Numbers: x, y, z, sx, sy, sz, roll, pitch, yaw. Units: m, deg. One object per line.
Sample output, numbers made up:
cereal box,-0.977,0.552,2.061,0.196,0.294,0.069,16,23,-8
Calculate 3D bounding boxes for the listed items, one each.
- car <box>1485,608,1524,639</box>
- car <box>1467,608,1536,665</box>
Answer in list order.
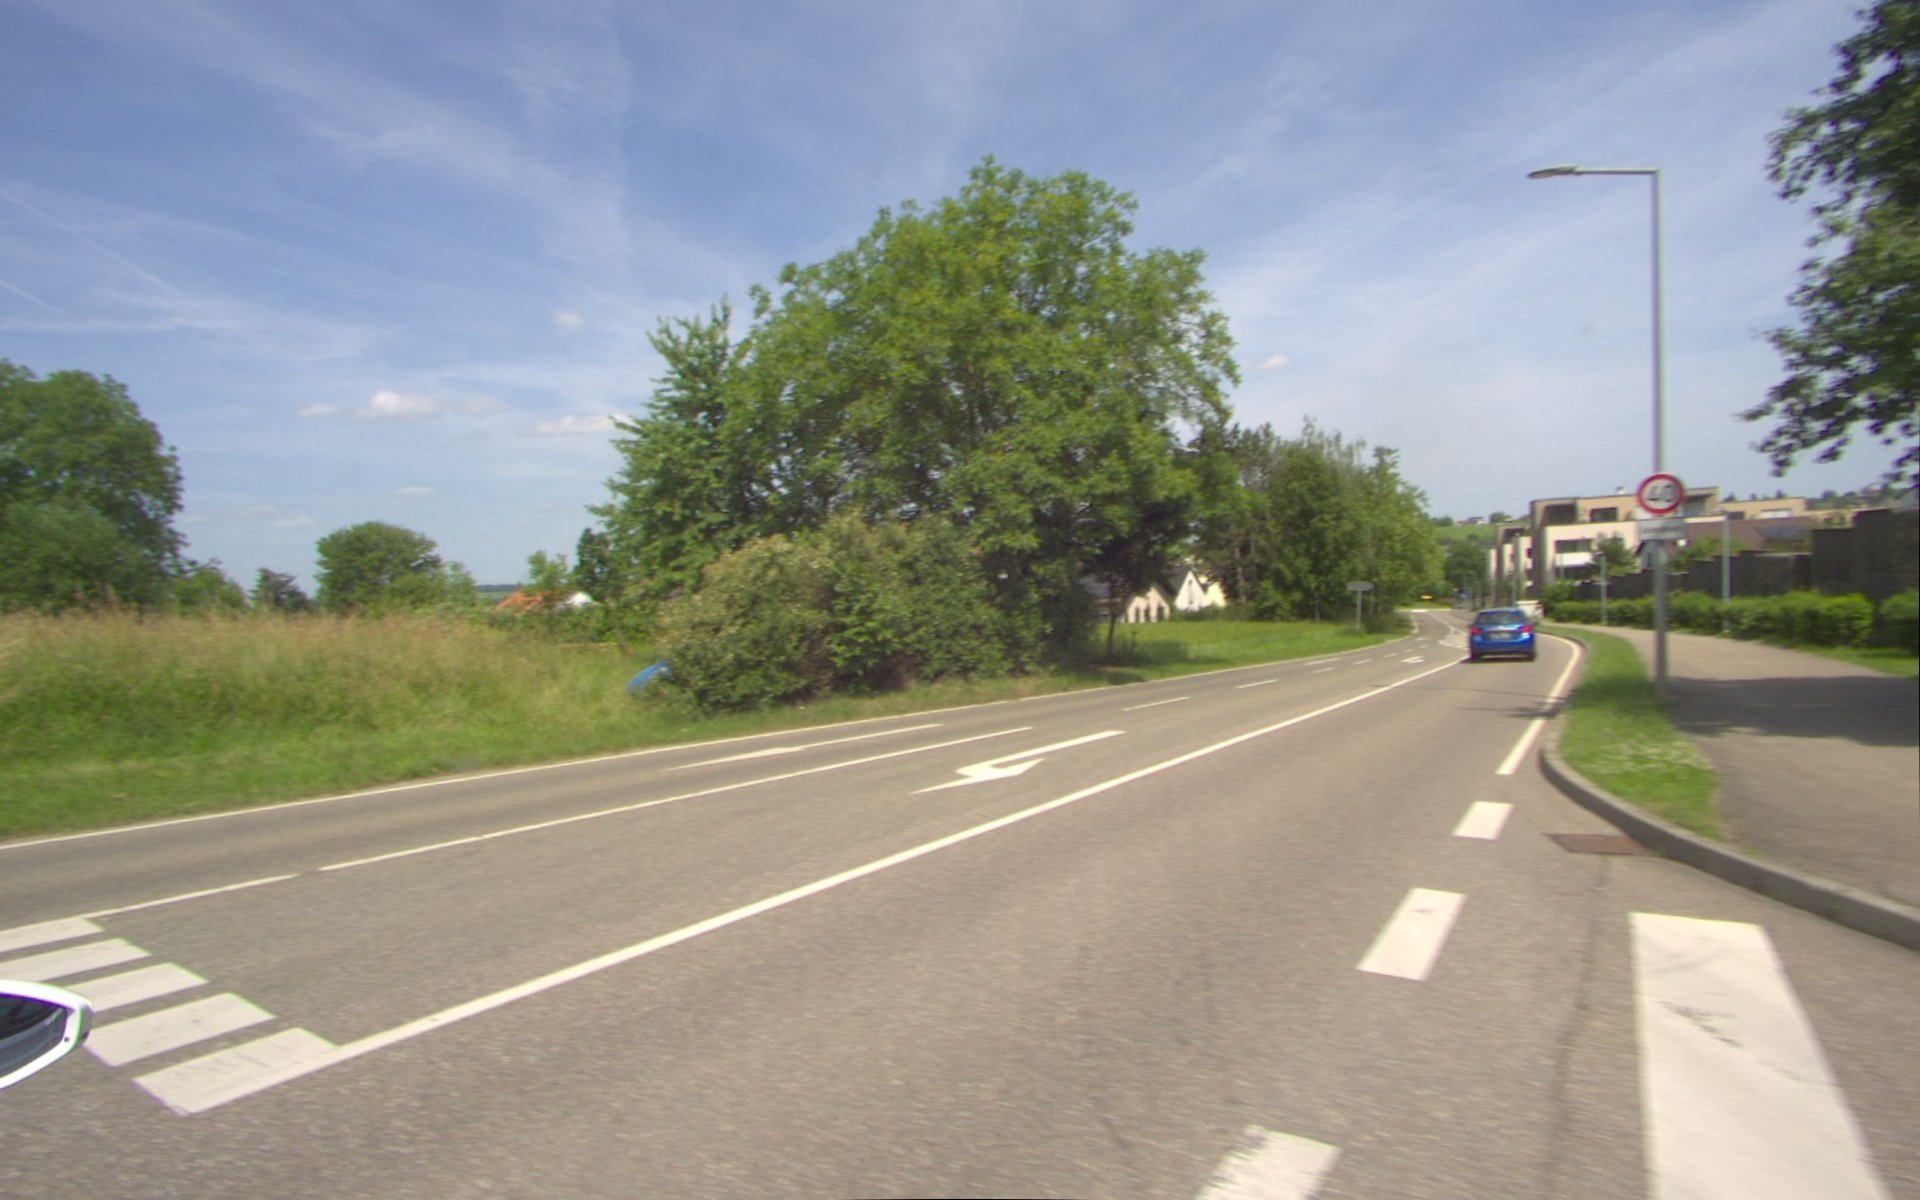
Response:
car,30.063,1.301,55.297,1.802,1.601,3.983,-2,-1,29
car,15.739,1.031,29.115,1.589,1.511,3.832,-3,-2,29
